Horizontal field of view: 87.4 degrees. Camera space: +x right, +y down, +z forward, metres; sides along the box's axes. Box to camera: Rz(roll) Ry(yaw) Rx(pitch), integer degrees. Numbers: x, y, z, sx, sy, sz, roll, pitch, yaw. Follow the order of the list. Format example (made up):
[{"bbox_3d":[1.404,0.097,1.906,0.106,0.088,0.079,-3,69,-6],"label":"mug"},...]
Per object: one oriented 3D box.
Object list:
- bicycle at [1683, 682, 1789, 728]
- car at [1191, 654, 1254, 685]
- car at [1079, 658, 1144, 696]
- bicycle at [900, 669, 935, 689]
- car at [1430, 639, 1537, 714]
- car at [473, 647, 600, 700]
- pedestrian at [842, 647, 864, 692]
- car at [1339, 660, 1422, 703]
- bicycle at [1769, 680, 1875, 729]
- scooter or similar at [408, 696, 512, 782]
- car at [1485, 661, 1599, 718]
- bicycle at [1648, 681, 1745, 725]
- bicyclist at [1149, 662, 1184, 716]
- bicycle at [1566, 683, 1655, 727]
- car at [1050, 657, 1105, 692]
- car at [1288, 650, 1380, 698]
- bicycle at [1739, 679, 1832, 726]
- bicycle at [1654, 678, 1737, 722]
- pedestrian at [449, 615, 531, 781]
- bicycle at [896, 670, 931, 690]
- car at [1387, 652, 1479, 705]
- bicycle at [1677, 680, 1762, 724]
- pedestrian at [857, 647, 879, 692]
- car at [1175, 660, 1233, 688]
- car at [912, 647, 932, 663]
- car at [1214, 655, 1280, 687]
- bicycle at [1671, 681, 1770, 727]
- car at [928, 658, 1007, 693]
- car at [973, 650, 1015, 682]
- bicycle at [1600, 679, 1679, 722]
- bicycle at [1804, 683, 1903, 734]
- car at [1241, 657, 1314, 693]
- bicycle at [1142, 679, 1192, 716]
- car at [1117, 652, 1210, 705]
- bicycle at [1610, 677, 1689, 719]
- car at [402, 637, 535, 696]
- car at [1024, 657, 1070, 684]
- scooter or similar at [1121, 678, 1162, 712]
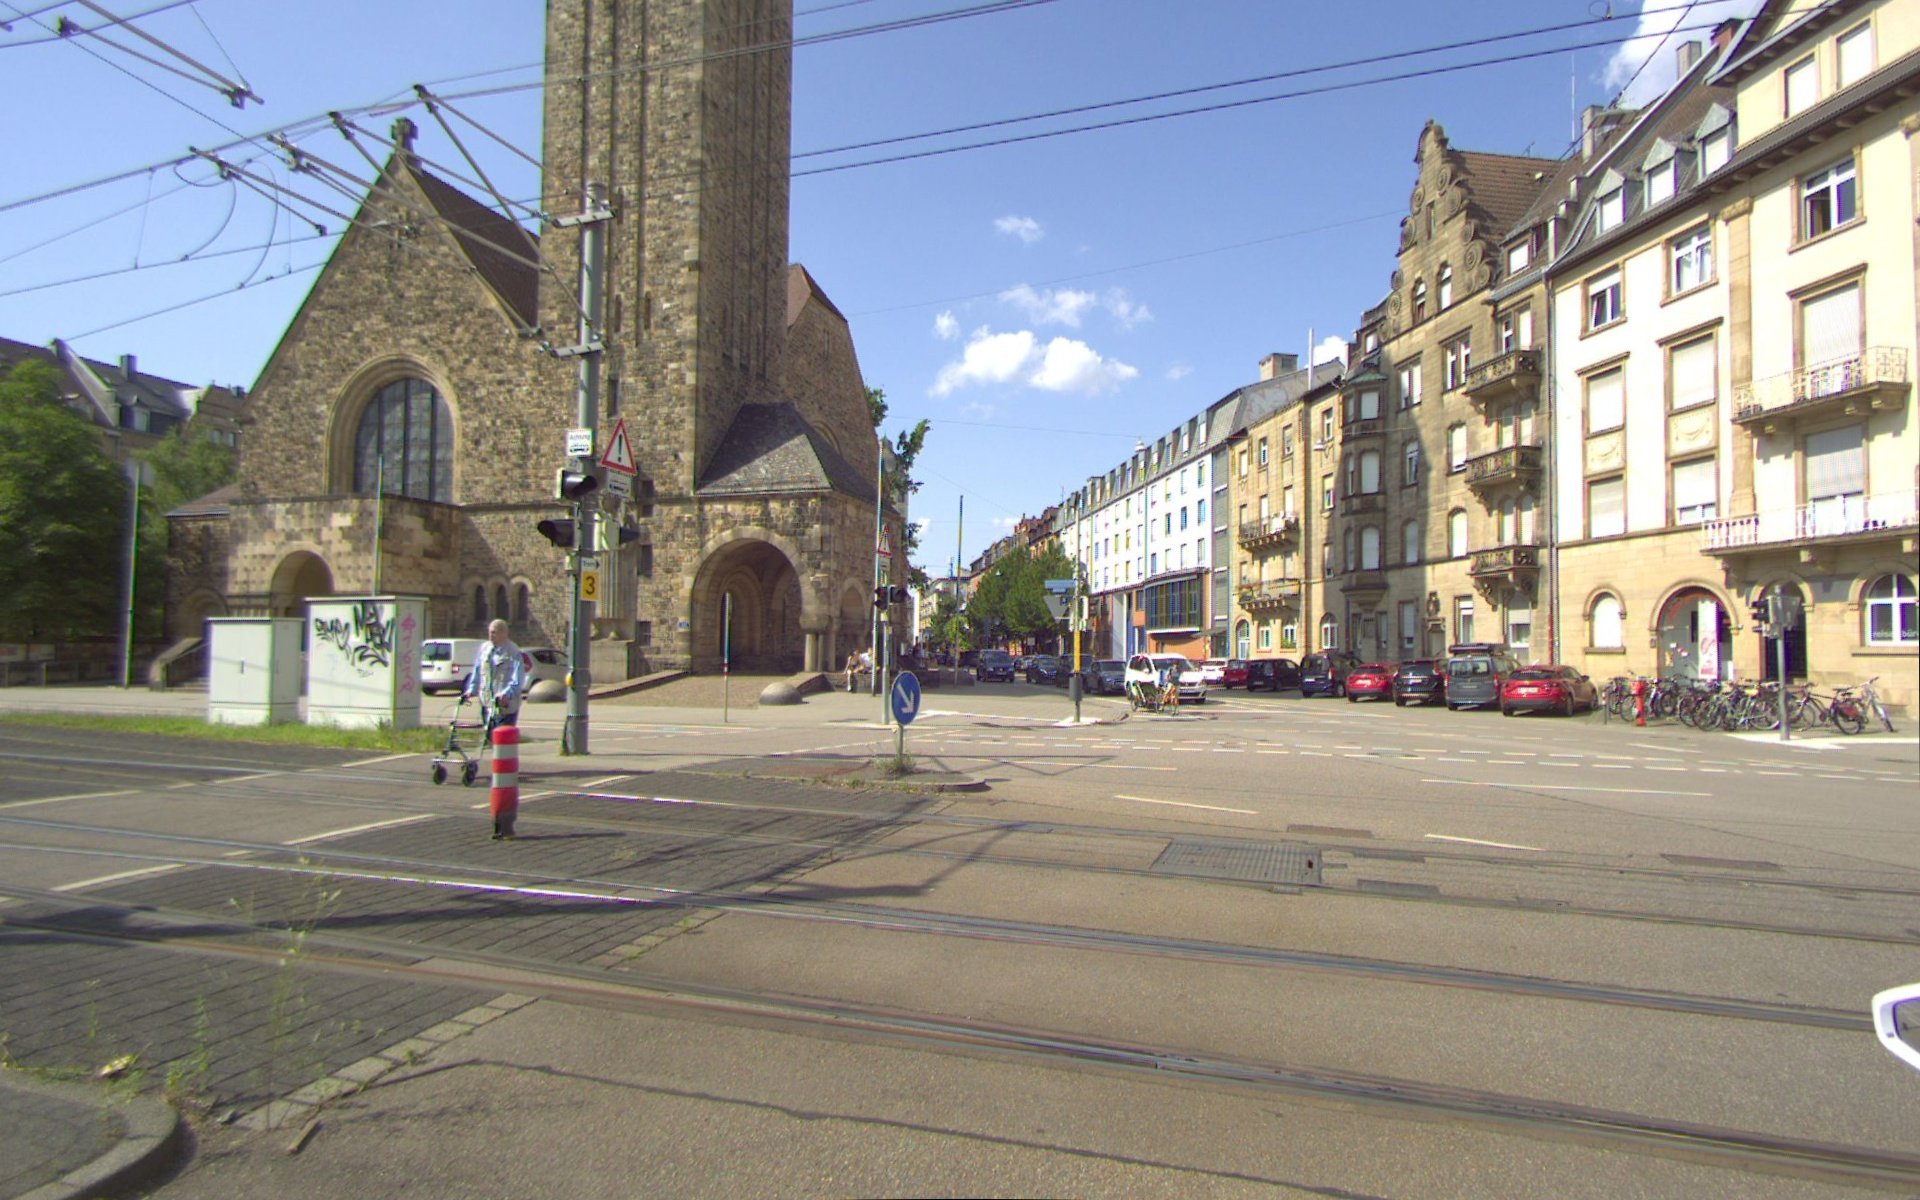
[{"bbox_3d":[18.284,2.479,23.713,1.840,1.032,0.602,-2,-3,18],"label":"bicycle"},{"bbox_3d":[14.274,3.725,54.481,3.751,1.520,1.585,1,-3,-45],"label":"car"},{"bbox_3d":[6.270,3.196,41.976,1.644,1.469,3.732,1,-3,-8],"label":"car"},{"bbox_3d":[-1.698,3.156,39.977,1.339,0.750,0.339,0,-3,16],"label":"bicycle"},{"bbox_3d":[17.396,2.480,33.320,3.973,2.110,1.943,-3,-1,-45],"label":"car"},{"bbox_3d":[-13.659,2.348,32.635,1.762,1.567,3.782,0,-3,16],"label":"car"},{"bbox_3d":[-3.572,2.312,33.512,0.552,1.426,0.513,0,4,-30],"label":"pedestrian"},{"bbox_3d":[16.552,3.155,39.460,1.889,1.463,3.981,-4,-3,40],"label":"car"},{"bbox_3d":[19.732,2.395,23.014,1.840,1.032,0.610,-2,-2,1],"label":"bicycle"},{"bbox_3d":[-5.239,1.443,10.557,0.542,0.814,0.841,0,-3,13],"label":"scooter or similar"},{"bbox_3d":[17.520,2.644,30.173,3.974,1.460,1.943,1,-3,-45],"label":"car"},{"bbox_3d":[18.335,2.564,25.044,1.890,1.032,0.541,-2,-2,6],"label":"bicycle"},{"bbox_3d":[6.000,2.573,29.192,0.641,1.523,0.920,0,-2,-12],"label":"bicyclist"},{"bbox_3d":[16.757,2.698,25.927,0.533,1.031,1.918,-1,-3,-24],"label":"bicycle"},{"bbox_3d":[5.686,3.597,49.126,1.672,1.617,4.067,1,-3,-8],"label":"car"},{"bbox_3d":[16.025,3.132,42.948,3.965,1.849,1.896,0,-3,-39],"label":"car"},{"bbox_3d":[20.147,2.486,24.575,0.530,1.031,1.928,-2,-3,-4],"label":"bicycle"},{"bbox_3d":[19.353,2.623,26.445,1.893,1.032,0.539,-2,-2,-9],"label":"bicycle"},{"bbox_3d":[-5.137,1.058,11.005,0.546,1.755,0.528,0,-3,12],"label":"pedestrian"},{"bbox_3d":[-1.822,3.155,39.557,1.339,0.750,0.339,0,-3,16],"label":"bicycle"},{"bbox_3d":[16.958,2.776,35.943,3.974,1.690,1.689,1,-3,-45],"label":"car"},{"bbox_3d":[19.472,2.605,25.764,1.893,1.032,0.539,-2,-2,-9],"label":"bicycle"},{"bbox_3d":[-3.087,2.328,33.797,0.552,1.426,0.513,0,4,-30],"label":"pedestrian"},{"bbox_3d":[13.992,4.214,57.516,3.549,1.415,1.585,1,-3,-45],"label":"car"},{"bbox_3d":[-3.308,4.797,87.729,1.611,1.342,3.744,1,-3,-1],"label":"car"},{"bbox_3d":[14.769,3.634,51.647,3.751,1.475,1.585,1,-3,-45],"label":"car"},{"bbox_3d":[18.505,2.525,24.466,1.890,1.032,0.541,-2,-2,6],"label":"bicycle"},{"bbox_3d":[0.359,3.854,51.458,2.017,1.673,3.925,3,-4,-41],"label":"car"},{"bbox_3d":[1.892,3.763,57.671,1.781,1.686,4.069,0,-2,-7],"label":"car"},{"bbox_3d":[18.123,2.672,26.789,1.895,1.032,0.539,-1,-2,-13],"label":"bicycle"},{"bbox_3d":[19.765,2.384,22.224,1.844,1.032,0.609,-1,-2,-11],"label":"bicycle"},{"bbox_3d":[15.378,3.602,48.573,3.974,1.566,1.689,1,-3,-45],"label":"car"},{"bbox_3d":[6.034,2.833,29.366,0.641,1.002,2.130,2,-3,-12],"label":"bicycle"},{"bbox_3d":[7.174,2.744,35.913,1.782,1.762,4.658,1,-3,-8],"label":"car"},{"bbox_3d":[18.904,2.681,27.534,1.893,1.032,0.539,-2,-2,-9],"label":"bicycle"},{"bbox_3d":[-16.609,2.233,34.158,1.826,1.847,4.018,0,-3,15],"label":"car"},{"bbox_3d":[4.713,3.838,54.973,1.672,1.408,3.857,1,-3,-8],"label":"car"},{"bbox_3d":[5.597,2.927,30.980,0.875,0.989,1.129,2,-3,-12],"label":"scooter or similar"}]
